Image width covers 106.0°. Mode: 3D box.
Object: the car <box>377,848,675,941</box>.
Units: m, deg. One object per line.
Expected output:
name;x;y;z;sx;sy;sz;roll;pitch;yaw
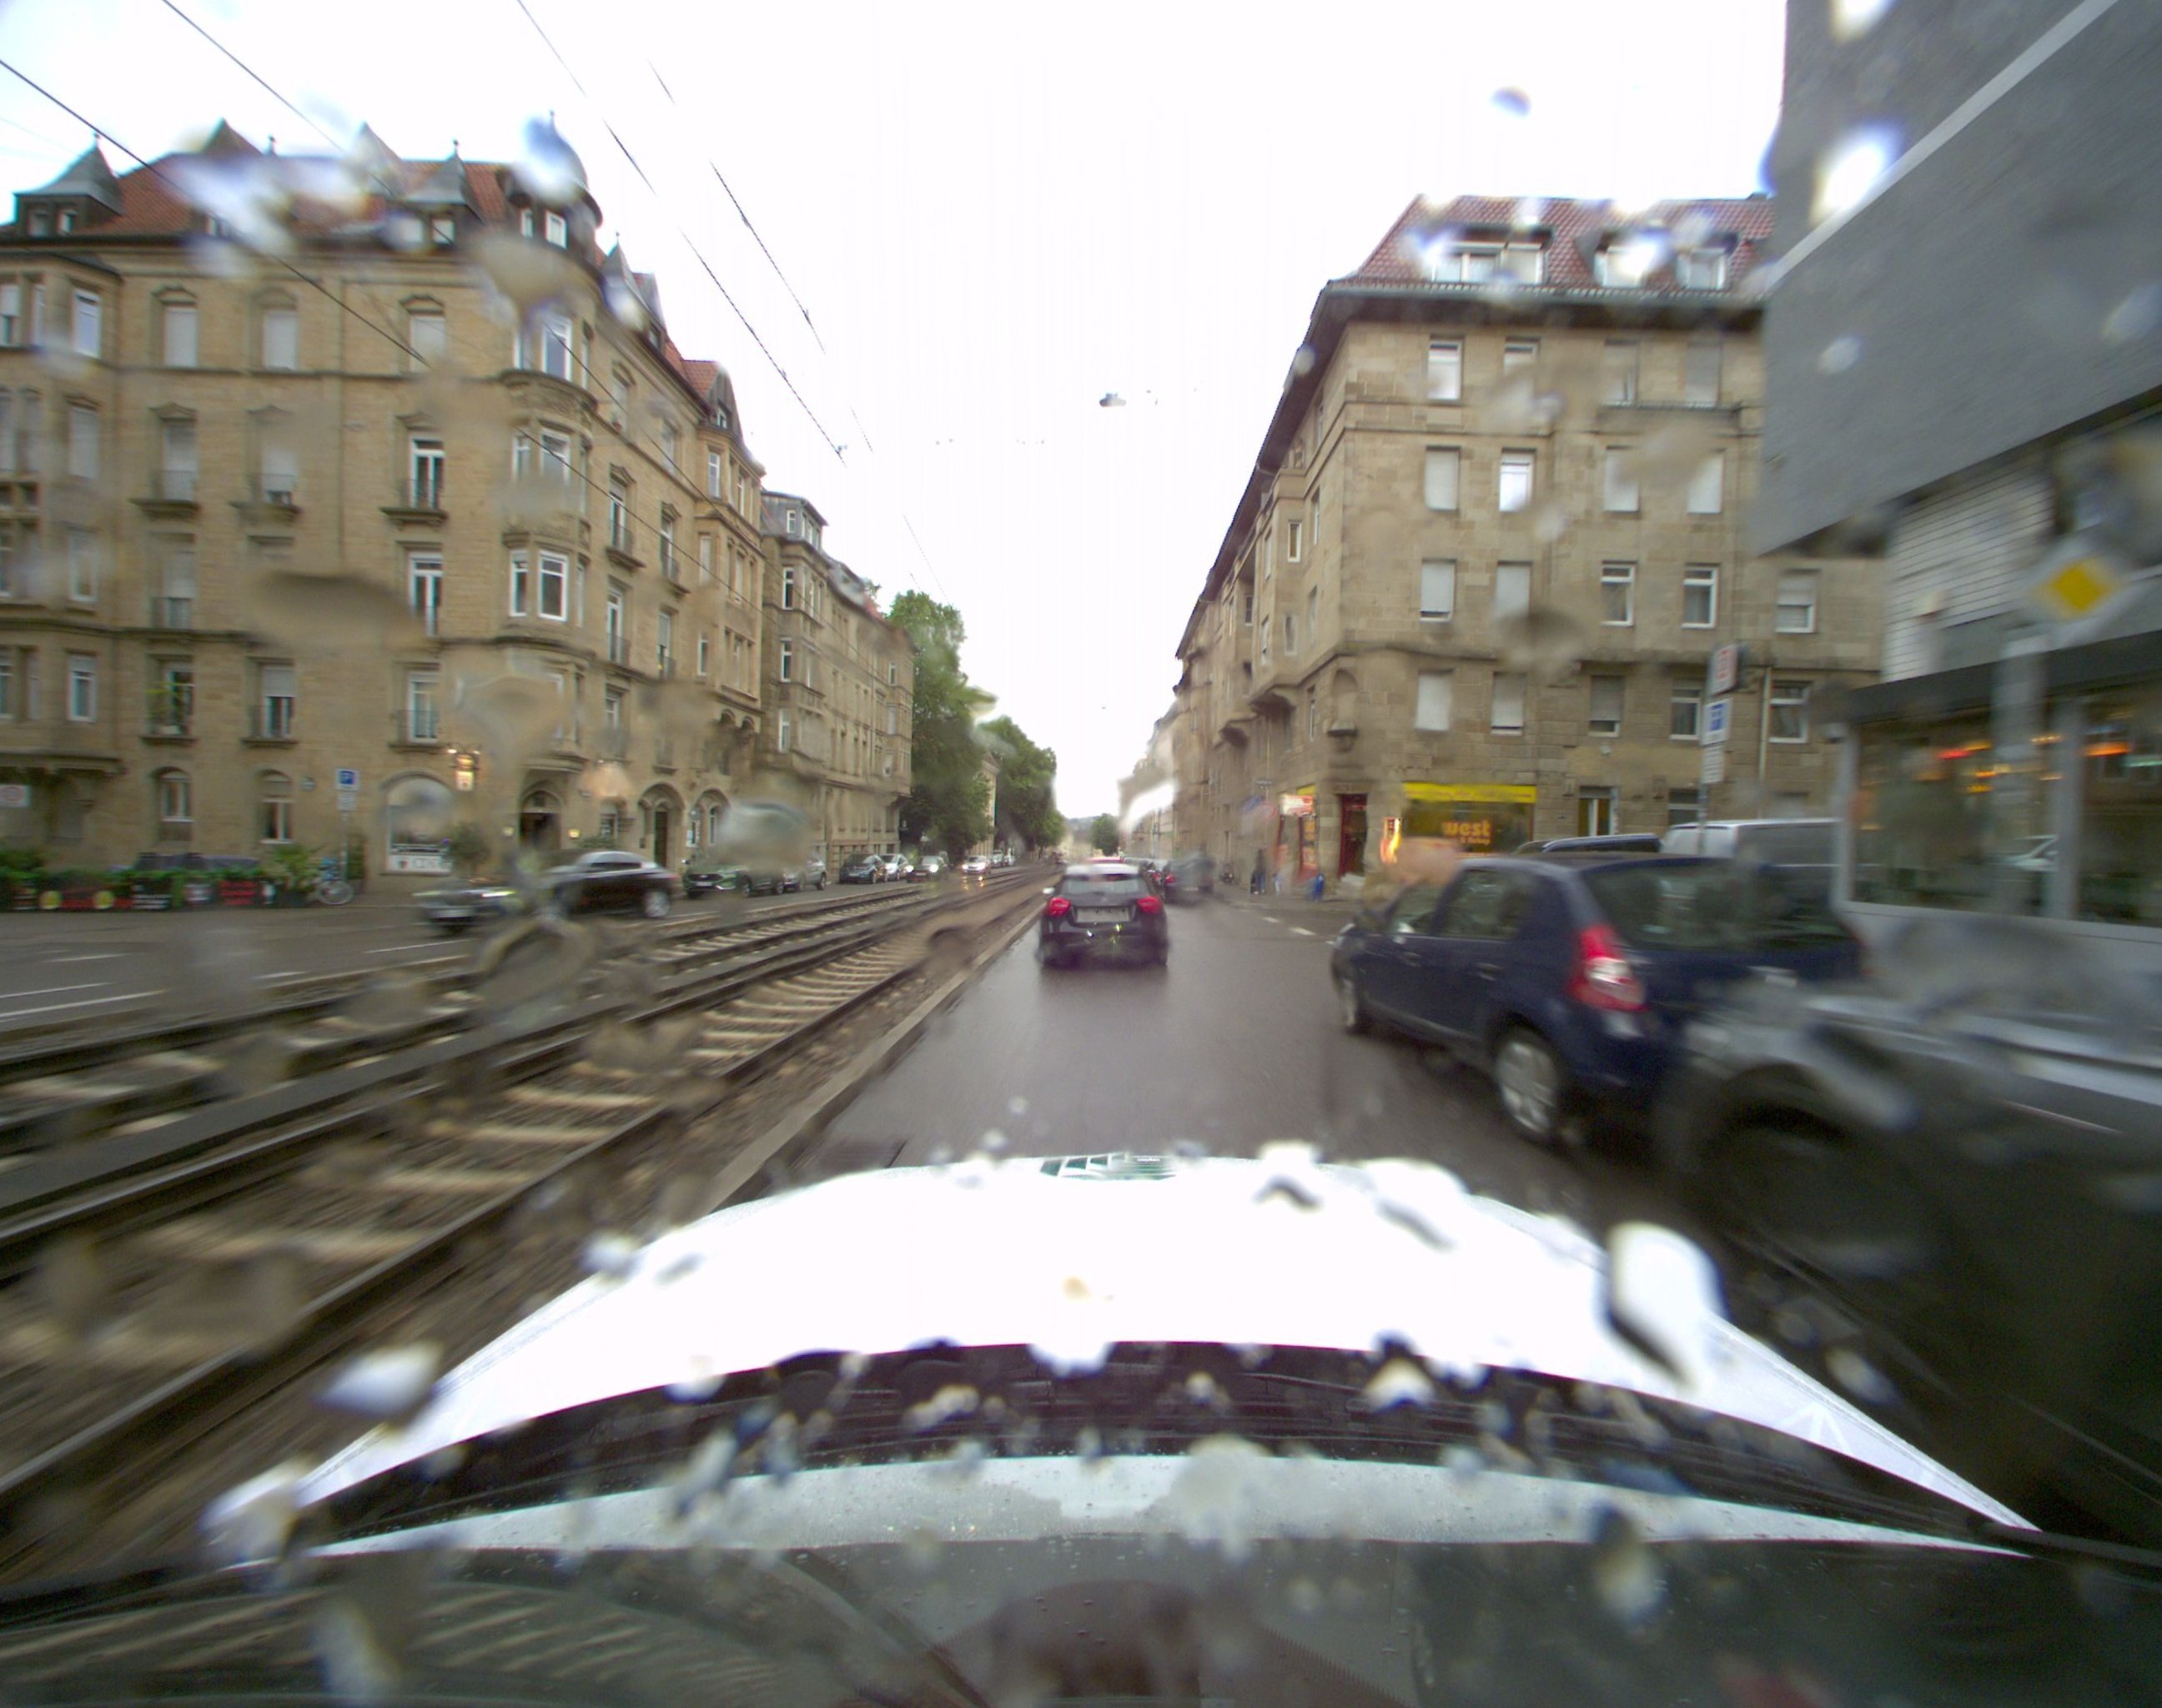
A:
car;-10.016;0.653;15.343;2.079;1.457;4.863;-1;0;3

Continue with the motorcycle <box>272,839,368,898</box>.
motorcycle;-21.498;0.398;23.020;2.069;1.619;0.623;-1;0;-1

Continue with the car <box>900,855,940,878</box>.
car;-10.676;0.801;54.215;1.756;1.398;4.269;-1;0;0

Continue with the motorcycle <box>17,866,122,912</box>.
motorcycle;-28.803;0.990;23.209;2.068;1.231;0.707;-1;0;0

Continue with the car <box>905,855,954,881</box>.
car;-8.168;0.725;44.184;1.697;1.388;3.785;0;0;4

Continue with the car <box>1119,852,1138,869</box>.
car;4.875;0.659;84.044;1.784;1.765;4.212;0;0;1

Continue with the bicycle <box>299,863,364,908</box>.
bicycle;-19.548;0.812;21.225;2.109;1.119;0.624;-1;0;30

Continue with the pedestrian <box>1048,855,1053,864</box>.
pedestrian;-5.592;1.041;150.993;0.803;1.634;0.892;-1;0;2

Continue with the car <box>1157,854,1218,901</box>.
car;3.513;0.735;27.421;1.664;1.444;3.792;-1;0;2

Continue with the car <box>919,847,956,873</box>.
car;-10.707;0.451;60.965;1.794;1.846;4.819;-1;0;1

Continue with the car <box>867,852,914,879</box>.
car;-11.126;0.640;47.813;1.688;1.524;3.856;-1;0;2

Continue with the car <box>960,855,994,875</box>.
car;-7.651;0.793;60.428;1.975;1.457;4.294;0;0;0

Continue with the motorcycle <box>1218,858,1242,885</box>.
motorcycle;7.093;0.814;38.939;0.702;1.199;2.747;0;0;2

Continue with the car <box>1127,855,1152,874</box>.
car;4.481;0.808;62.663;1.662;1.434;3.956;0;0;0

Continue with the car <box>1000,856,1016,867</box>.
car;-9.630;0.934;107.587;1.494;1.391;3.990;-1;0;3

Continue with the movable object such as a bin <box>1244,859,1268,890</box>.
movable object such as a bin;6.437;0.747;30.010;0.663;1.103;1.124;1;0;1

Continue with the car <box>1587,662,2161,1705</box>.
car;2.714;0.559;0.692;1.787;1.760;4.566;0;0;0

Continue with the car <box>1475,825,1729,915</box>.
car;12.286;0.357;19.445;4.762;1.861;2.000;-2;0;0

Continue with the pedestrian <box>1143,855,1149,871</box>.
pedestrian;7.205;0.952;89.824;0.605;1.763;0.688;-1;0;0

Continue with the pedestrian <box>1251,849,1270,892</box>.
pedestrian;6.403;0.579;29.063;0.559;1.535;0.710;0;0;1

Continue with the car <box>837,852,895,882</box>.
car;-11.213;0.677;42.830;1.864;1.508;4.170;0;0;1

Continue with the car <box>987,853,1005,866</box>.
car;-9.625;0.646;92.603;1.534;1.413;3.953;-1;0;1

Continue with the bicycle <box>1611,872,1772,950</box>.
bicycle;8.182;0.753;10.954;1.742;0.973;0.533;1;0;2

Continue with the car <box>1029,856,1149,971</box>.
car;0.138;0.793;12.547;1.575;1.505;3.575;0;0;1

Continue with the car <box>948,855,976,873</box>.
car;-10.560;0.861;72.464;1.843;1.464;4.549;-1;0;0

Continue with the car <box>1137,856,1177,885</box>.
car;4.025;0.843;43.654;1.782;1.462;4.083;0;0;0

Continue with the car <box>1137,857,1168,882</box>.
car;4.173;0.886;48.116;1.538;1.415;3.446;0;0;0

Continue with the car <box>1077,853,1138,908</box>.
car;0.842;0.786;25.951;1.779;1.581;4.001;0;0;1

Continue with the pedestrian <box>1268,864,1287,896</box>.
pedestrian;6.563;0.849;27.187;0.509;1.050;0.627;0;0;1

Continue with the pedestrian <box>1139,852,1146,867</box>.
pedestrian;7.531;0.689;100.294;0.743;1.833;1.039;-2;0;3

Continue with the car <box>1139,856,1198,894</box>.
car;3.463;0.803;32.890;1.750;1.387;4.482;-1;0;-2

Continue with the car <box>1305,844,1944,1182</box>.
car;3.032;0.715;5.669;1.687;1.482;3.925;-1;0;-3

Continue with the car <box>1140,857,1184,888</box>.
car;3.821;0.840;39.083;1.701;1.398;4.018;0;0;0

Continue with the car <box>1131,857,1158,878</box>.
car;4.445;0.935;57.561;1.585;1.434;3.682;0;0;-1

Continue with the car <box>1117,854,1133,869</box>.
car;5.274;0.866;98.698;1.821;1.750;4.469;0;0;2

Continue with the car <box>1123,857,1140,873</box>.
car;4.882;1.059;79.366;1.564;1.462;3.601;0;0;2

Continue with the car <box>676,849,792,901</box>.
car;-11.652;0.660;27.703;1.851;1.602;4.433;0;0;3

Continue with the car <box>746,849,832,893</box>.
car;-11.564;0.634;32.543;1.852;1.652;4.315;0;0;0
